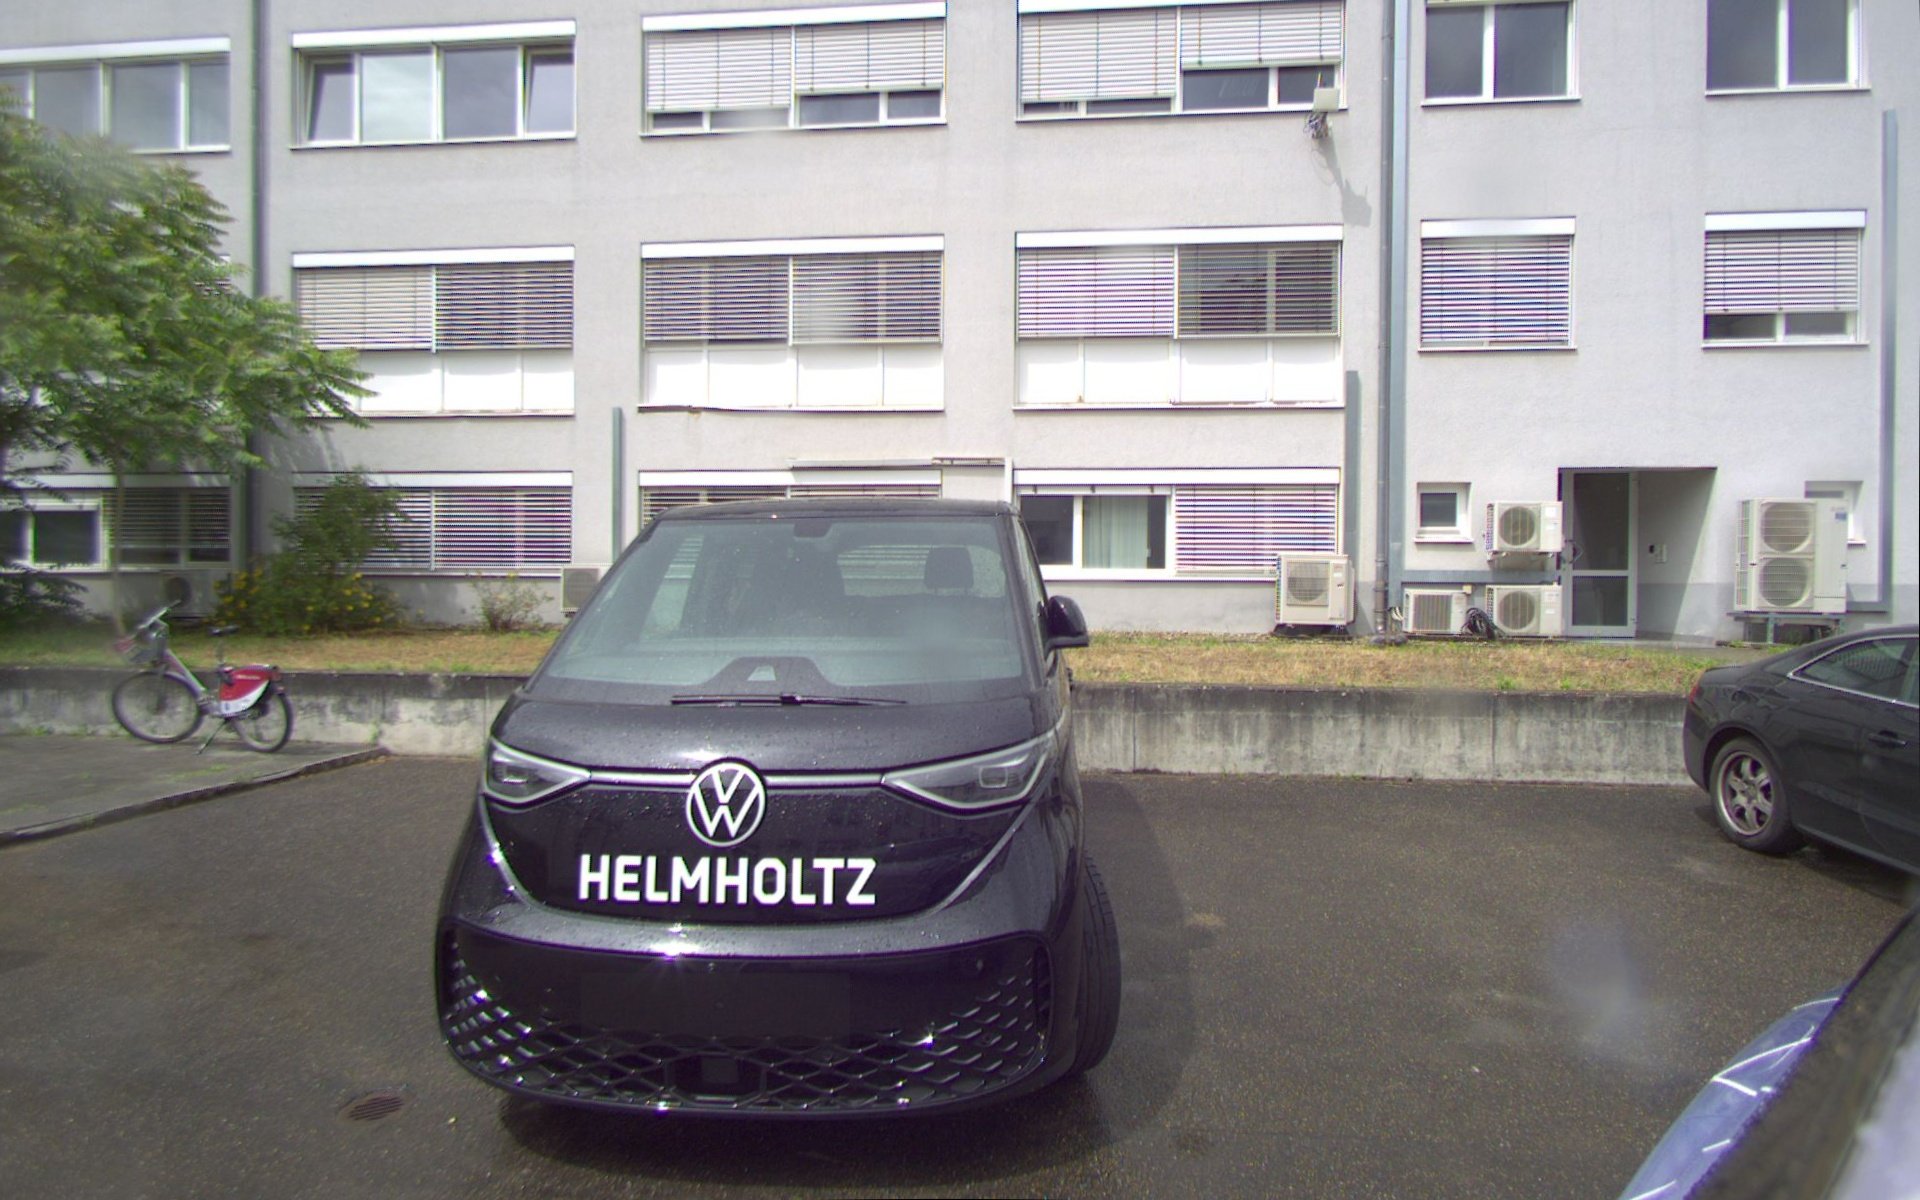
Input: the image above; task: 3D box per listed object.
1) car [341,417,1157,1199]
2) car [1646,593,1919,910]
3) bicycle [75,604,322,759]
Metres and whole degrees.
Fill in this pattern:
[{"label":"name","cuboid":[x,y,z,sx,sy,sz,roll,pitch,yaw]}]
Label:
[{"label":"car","cuboid":[-0.348,0.452,4.733,1.935,1.888,4.744,0,2,4]},{"label":"car","cuboid":[5.189,0.720,4.348,1.732,1.368,4.523,0,2,6]},{"label":"bicycle","cuboid":[-5.998,0.617,7.989,1.767,1.117,0.446,1,3,10]}]
